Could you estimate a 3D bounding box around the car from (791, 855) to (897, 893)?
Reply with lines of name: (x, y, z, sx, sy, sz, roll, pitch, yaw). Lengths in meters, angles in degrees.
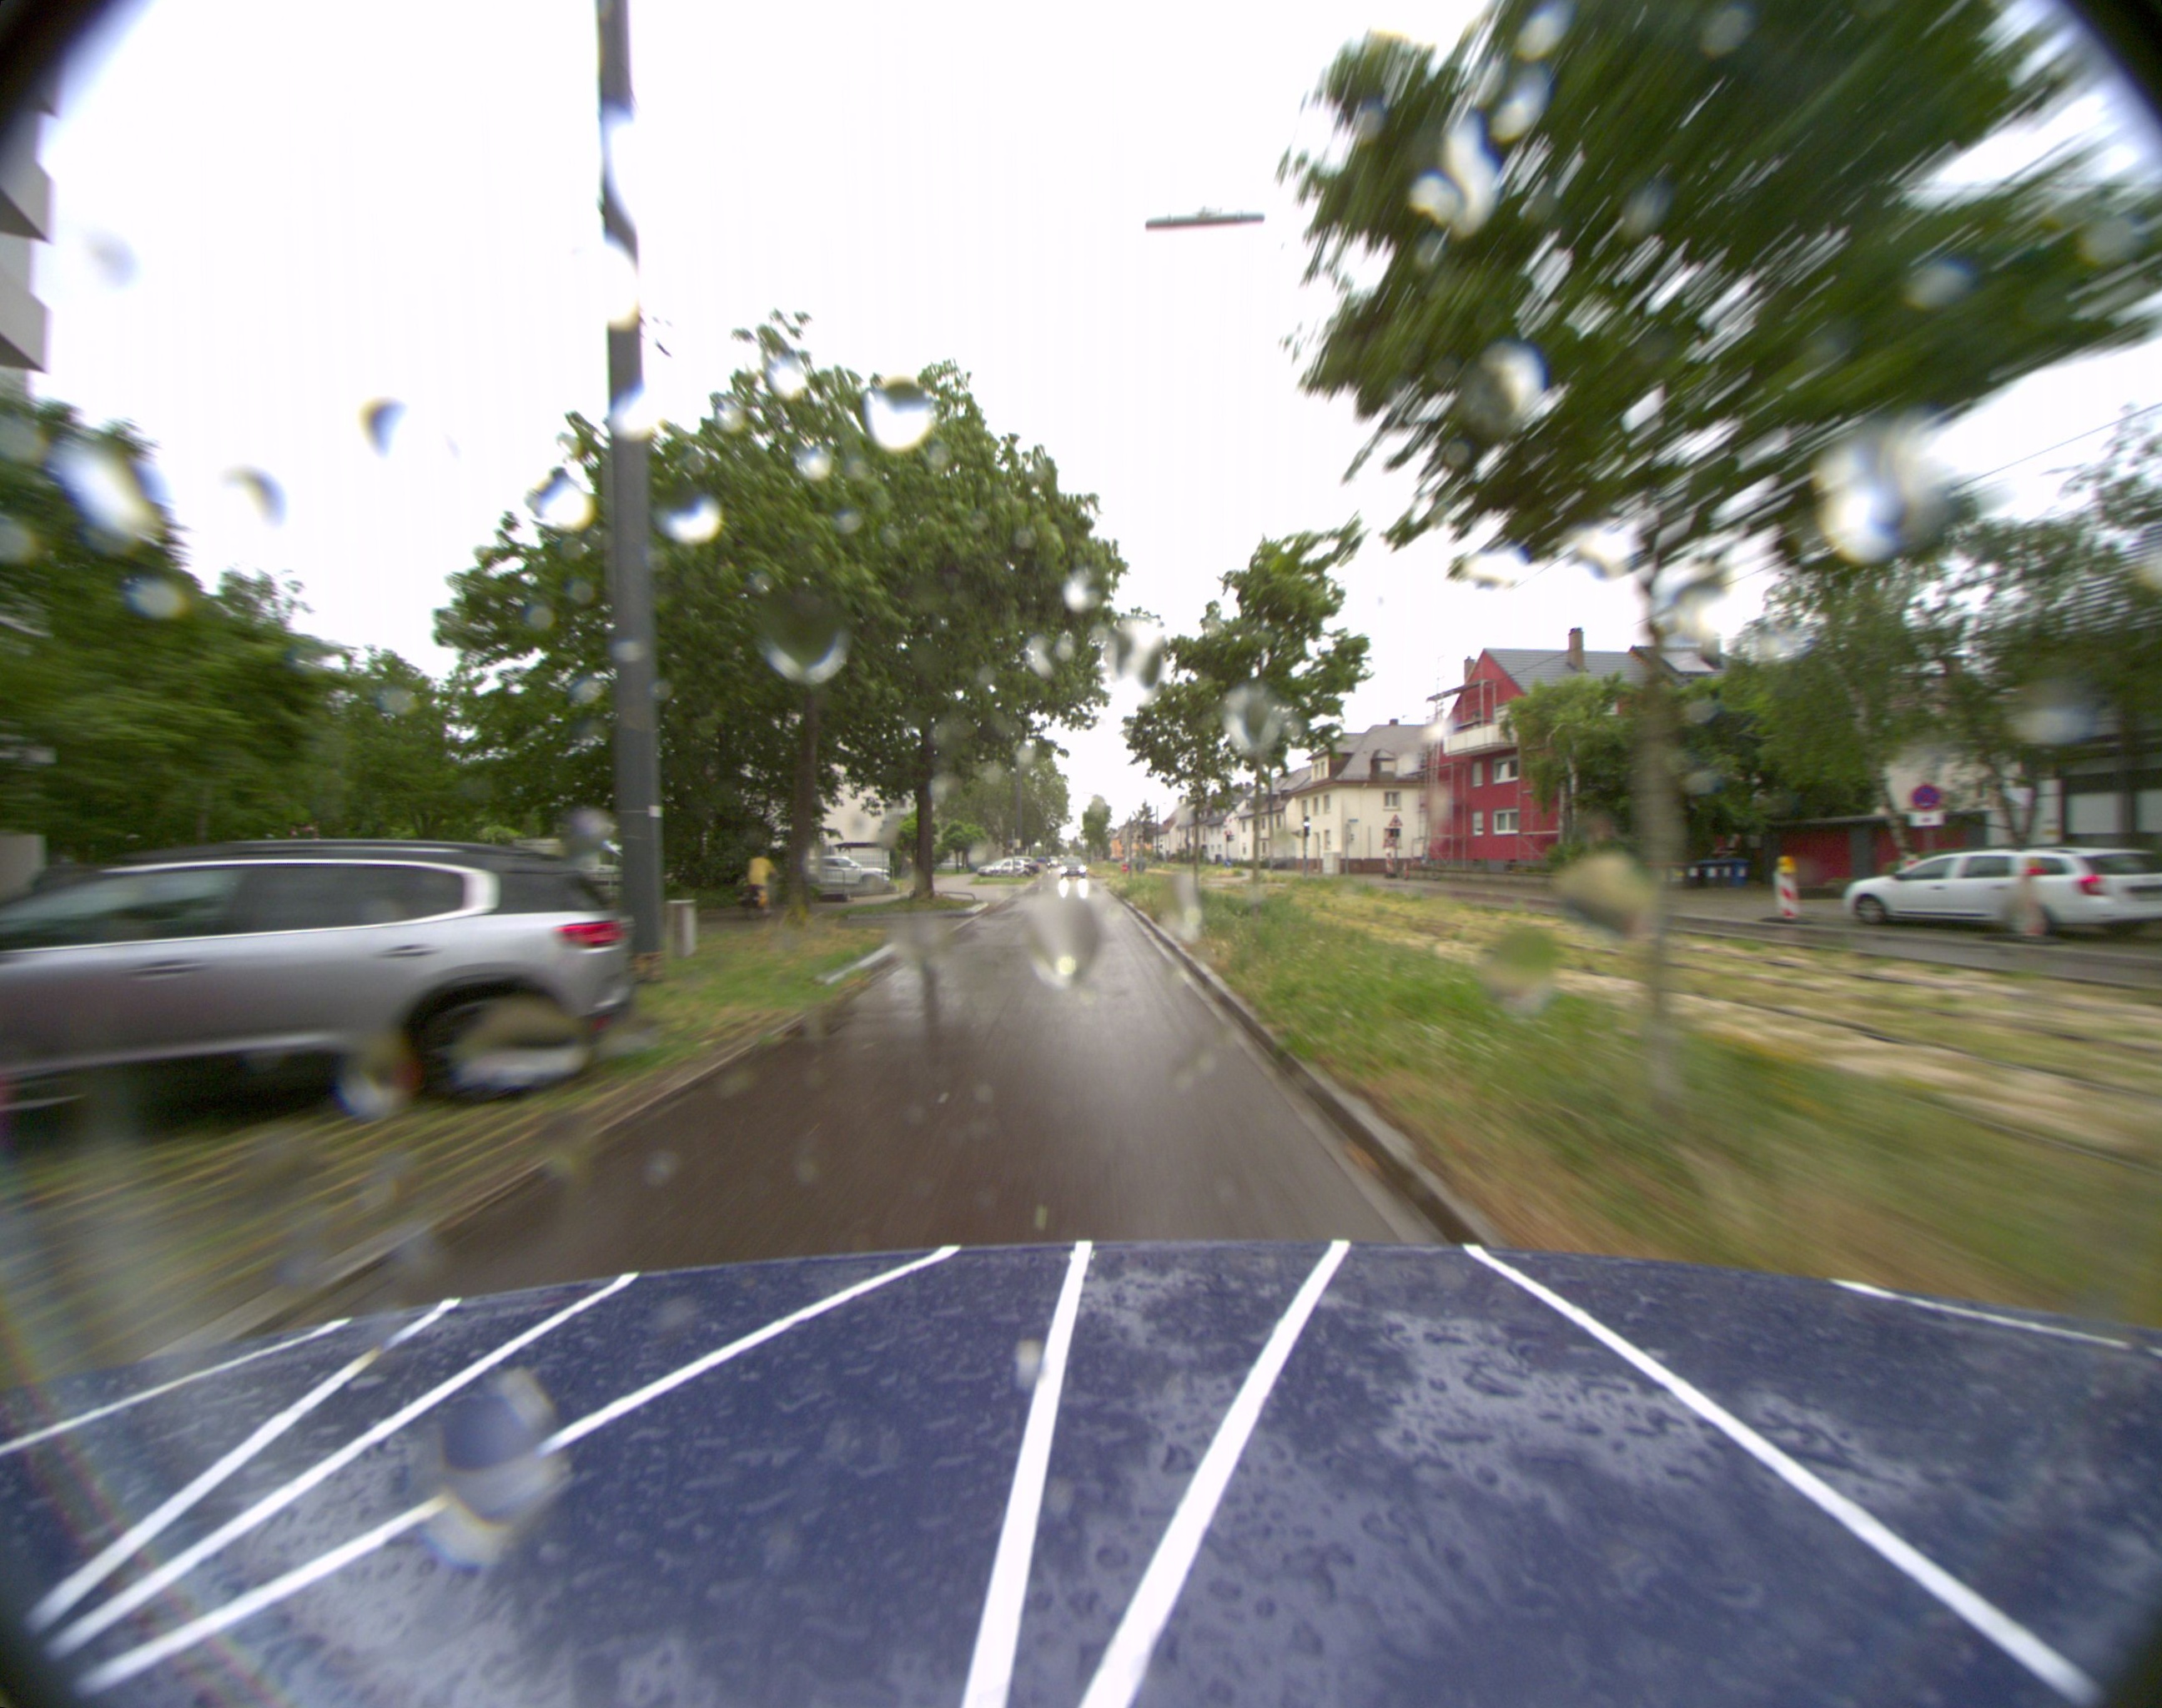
car: (-11.594, 0.935, 37.419, 4.821, 1.735, 1.997, -1, 1, -15)

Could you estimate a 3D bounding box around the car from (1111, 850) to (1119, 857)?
car: (9.246, -0.182, 206.449, 1.999, 1.648, 3.999, -2, 1, -1)

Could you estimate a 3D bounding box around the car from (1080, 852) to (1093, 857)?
car: (1.847, 0.314, 256.948, 3.999, 1.637, 1.893, 0, 0, -6)

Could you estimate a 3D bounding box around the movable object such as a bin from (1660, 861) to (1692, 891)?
movable object such as a bin: (21.994, 0.818, 28.093, 0.561, 1.075, 0.758, 0, 1, 0)

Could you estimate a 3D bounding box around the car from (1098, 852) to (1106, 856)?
car: (6.634, -0.023, 239.326, 2.097, 1.423, 4.075, 0, 0, -4)

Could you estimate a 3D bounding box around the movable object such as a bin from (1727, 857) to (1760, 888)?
movable object such as a bin: (24.540, 0.679, 28.142, 0.561, 1.132, 0.758, 0, 1, 0)

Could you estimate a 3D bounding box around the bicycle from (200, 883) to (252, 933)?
bicycle: (-17.423, 1.082, 15.502, 0.409, 0.920, 1.461, -1, 1, -37)

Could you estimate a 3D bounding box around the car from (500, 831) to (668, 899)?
car: (-22.799, 0.462, 35.143, 6.079, 2.947, 2.127, -1, 1, -15)

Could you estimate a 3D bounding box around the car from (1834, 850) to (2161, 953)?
car: (17.021, 0.745, 14.107, 1.714, 1.533, 4.422, -3, 0, 1)

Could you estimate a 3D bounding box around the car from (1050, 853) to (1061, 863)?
car: (-4.059, 0.601, 120.657, 1.563, 1.510, 3.998, 0, 0, -4)

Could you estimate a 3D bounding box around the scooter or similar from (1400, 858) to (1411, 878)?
scooter or similar: (18.529, 0.797, 43.347, 0.440, 1.123, 1.285, 0, 1, 30)

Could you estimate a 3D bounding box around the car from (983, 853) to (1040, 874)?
car: (-5.767, 0.775, 63.419, 4.358, 1.641, 1.853, 0, 0, -34)

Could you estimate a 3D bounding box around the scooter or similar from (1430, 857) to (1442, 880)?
scooter or similar: (18.917, 0.759, 40.496, 0.394, 1.173, 1.284, 0, 1, 15)

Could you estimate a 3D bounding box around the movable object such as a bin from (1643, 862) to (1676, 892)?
movable object such as a bin: (21.360, 0.839, 28.085, 0.645, 1.085, 0.757, 0, 1, 0)

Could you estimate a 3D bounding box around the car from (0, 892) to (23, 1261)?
car: (-5.688, 0.897, 1.458, 3.894, 1.558, 1.728, 2, -1, -36)

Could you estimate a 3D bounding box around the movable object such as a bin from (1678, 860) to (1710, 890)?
movable object such as a bin: (22.639, 0.758, 28.088, 0.561, 1.075, 0.758, 0, 1, 0)

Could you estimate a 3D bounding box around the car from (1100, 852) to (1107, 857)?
car: (6.770, 0.220, 230.729, 1.886, 1.423, 4.075, 0, 0, -4)

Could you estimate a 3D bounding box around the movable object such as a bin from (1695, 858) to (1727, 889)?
movable object such as a bin: (23.303, 0.723, 28.121, 0.561, 1.132, 0.758, 0, 1, 0)

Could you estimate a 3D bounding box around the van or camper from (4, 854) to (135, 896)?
van or camper: (-46.778, 0.917, 35.302, 1.910, 1.761, 4.408, -1, 0, -28)

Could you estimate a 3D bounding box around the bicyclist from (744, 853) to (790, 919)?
bicyclist: (-7.768, 0.768, 18.834, 0.736, 1.584, 0.944, 0, 1, 0)

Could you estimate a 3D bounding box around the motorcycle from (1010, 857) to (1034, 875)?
motorcycle: (-4.506, 0.908, 57.954, 1.783, 1.329, 0.687, 0, 0, -37)

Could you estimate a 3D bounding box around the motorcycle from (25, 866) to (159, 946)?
motorcycle: (-17.811, 0.887, 13.758, 0.887, 1.281, 2.296, 0, 0, -37)

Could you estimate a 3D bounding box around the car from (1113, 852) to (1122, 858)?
car: (9.219, 0.236, 192.854, 1.912, 1.581, 3.999, 0, 0, -3)

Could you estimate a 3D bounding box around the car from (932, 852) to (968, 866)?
car: (-16.952, 0.640, 98.263, 4.304, 1.671, 1.871, 0, 1, 0)

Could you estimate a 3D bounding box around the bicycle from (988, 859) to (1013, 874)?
bicycle: (-5.994, 0.955, 56.626, 0.627, 1.095, 1.961, 0, 0, 43)

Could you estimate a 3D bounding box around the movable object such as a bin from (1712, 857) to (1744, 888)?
movable object such as a bin: (23.956, 0.686, 28.137, 0.561, 1.132, 0.758, 0, 1, 0)

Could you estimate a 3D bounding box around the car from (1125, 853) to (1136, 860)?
car: (10.761, 0.556, 165.196, 1.715, 1.432, 3.998, 0, 0, -4)

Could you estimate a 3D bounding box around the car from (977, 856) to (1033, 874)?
car: (-5.959, 0.853, 59.849, 4.133, 1.414, 1.734, 1, 0, -37)

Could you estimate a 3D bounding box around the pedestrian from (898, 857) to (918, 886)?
pedestrian: (-9.674, 0.982, 42.457, 0.841, 1.561, 0.812, -1, 1, -30)

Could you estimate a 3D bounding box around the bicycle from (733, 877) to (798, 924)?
bicycle: (-7.761, 1.121, 18.800, 0.736, 1.050, 2.050, 0, 0, 0)

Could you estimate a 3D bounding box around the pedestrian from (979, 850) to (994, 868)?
pedestrian: (-9.598, 0.539, 77.195, 1.101, 1.803, 1.434, -1, 1, 9)

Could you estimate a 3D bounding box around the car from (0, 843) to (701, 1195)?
car: (-4.973, 0.847, 5.079, 4.156, 1.709, 1.995, 2, -1, -31)
